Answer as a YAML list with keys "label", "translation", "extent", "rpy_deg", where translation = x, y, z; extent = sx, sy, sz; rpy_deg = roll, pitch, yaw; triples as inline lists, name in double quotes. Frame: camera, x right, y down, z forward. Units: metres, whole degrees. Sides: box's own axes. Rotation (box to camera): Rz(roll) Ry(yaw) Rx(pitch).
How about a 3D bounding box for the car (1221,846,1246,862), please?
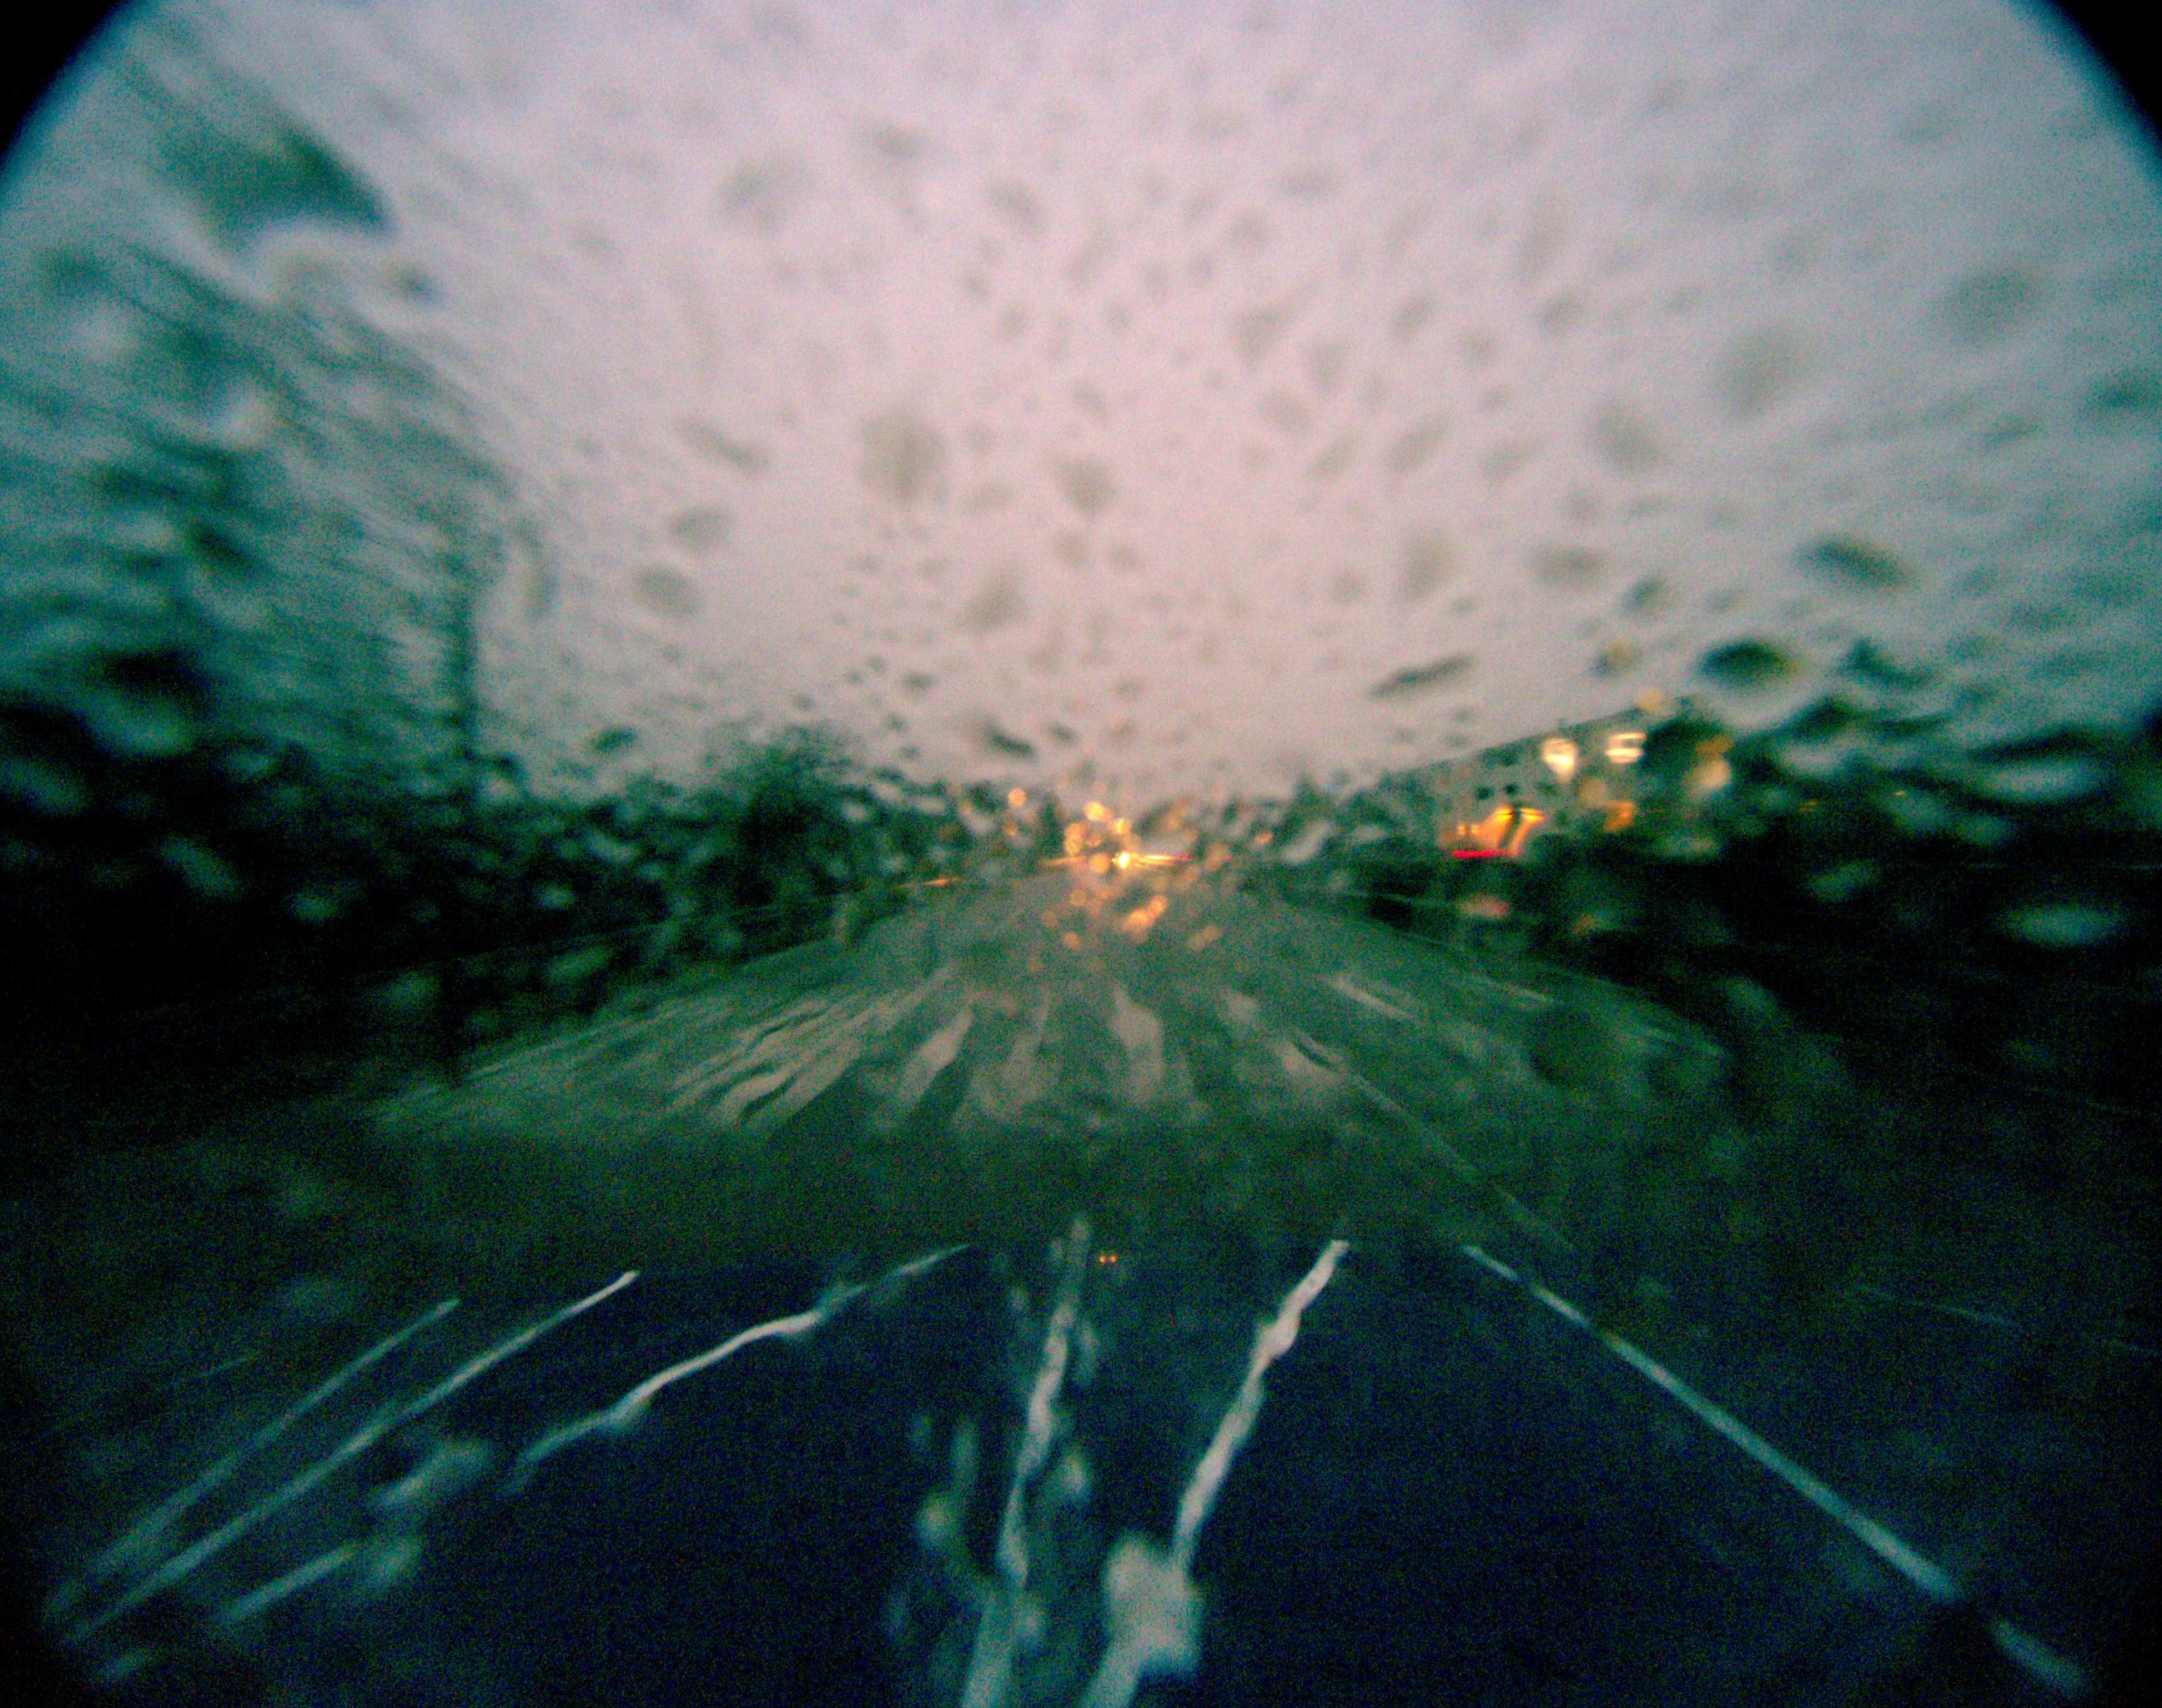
- label: "car"
  translation: [15.263, 0.011, 76.331]
  extent: [1.741, 1.499, 4.000]
  rpy_deg: [-3, 1, 1]

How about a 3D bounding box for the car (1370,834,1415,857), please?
- label: "car"
  translation: [29.772, -0.768, 72.722]
  extent: [2.160, 2.002, 4.960]
  rpy_deg: [-3, 0, -1]

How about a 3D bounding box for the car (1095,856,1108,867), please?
- label: "car"
  translation: [2.955, 1.011, 107.905]
  extent: [1.682, 1.401, 3.775]
  rpy_deg: [-2, 0, 2]

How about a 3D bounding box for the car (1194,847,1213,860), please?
- label: "car"
  translation: [15.190, -0.111, 94.622]
  extent: [1.741, 1.499, 4.000]
  rpy_deg: [-3, 1, 1]

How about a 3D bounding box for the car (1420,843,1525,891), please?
- label: "car"
  translation: [14.020, 0.415, 27.450]
  extent: [1.741, 1.499, 4.000]
  rpy_deg: [-3, 1, 1]

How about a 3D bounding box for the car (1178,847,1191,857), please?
- label: "car"
  translation: [17.341, -0.368, 127.692]
  extent: [1.741, 1.499, 4.000]
  rpy_deg: [-3, 1, 1]

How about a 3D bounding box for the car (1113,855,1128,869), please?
- label: "car"
  translation: [6.453, 1.325, 124.042]
  extent: [1.999, 2.002, 3.999]
  rpy_deg: [-4, 0, -2]
